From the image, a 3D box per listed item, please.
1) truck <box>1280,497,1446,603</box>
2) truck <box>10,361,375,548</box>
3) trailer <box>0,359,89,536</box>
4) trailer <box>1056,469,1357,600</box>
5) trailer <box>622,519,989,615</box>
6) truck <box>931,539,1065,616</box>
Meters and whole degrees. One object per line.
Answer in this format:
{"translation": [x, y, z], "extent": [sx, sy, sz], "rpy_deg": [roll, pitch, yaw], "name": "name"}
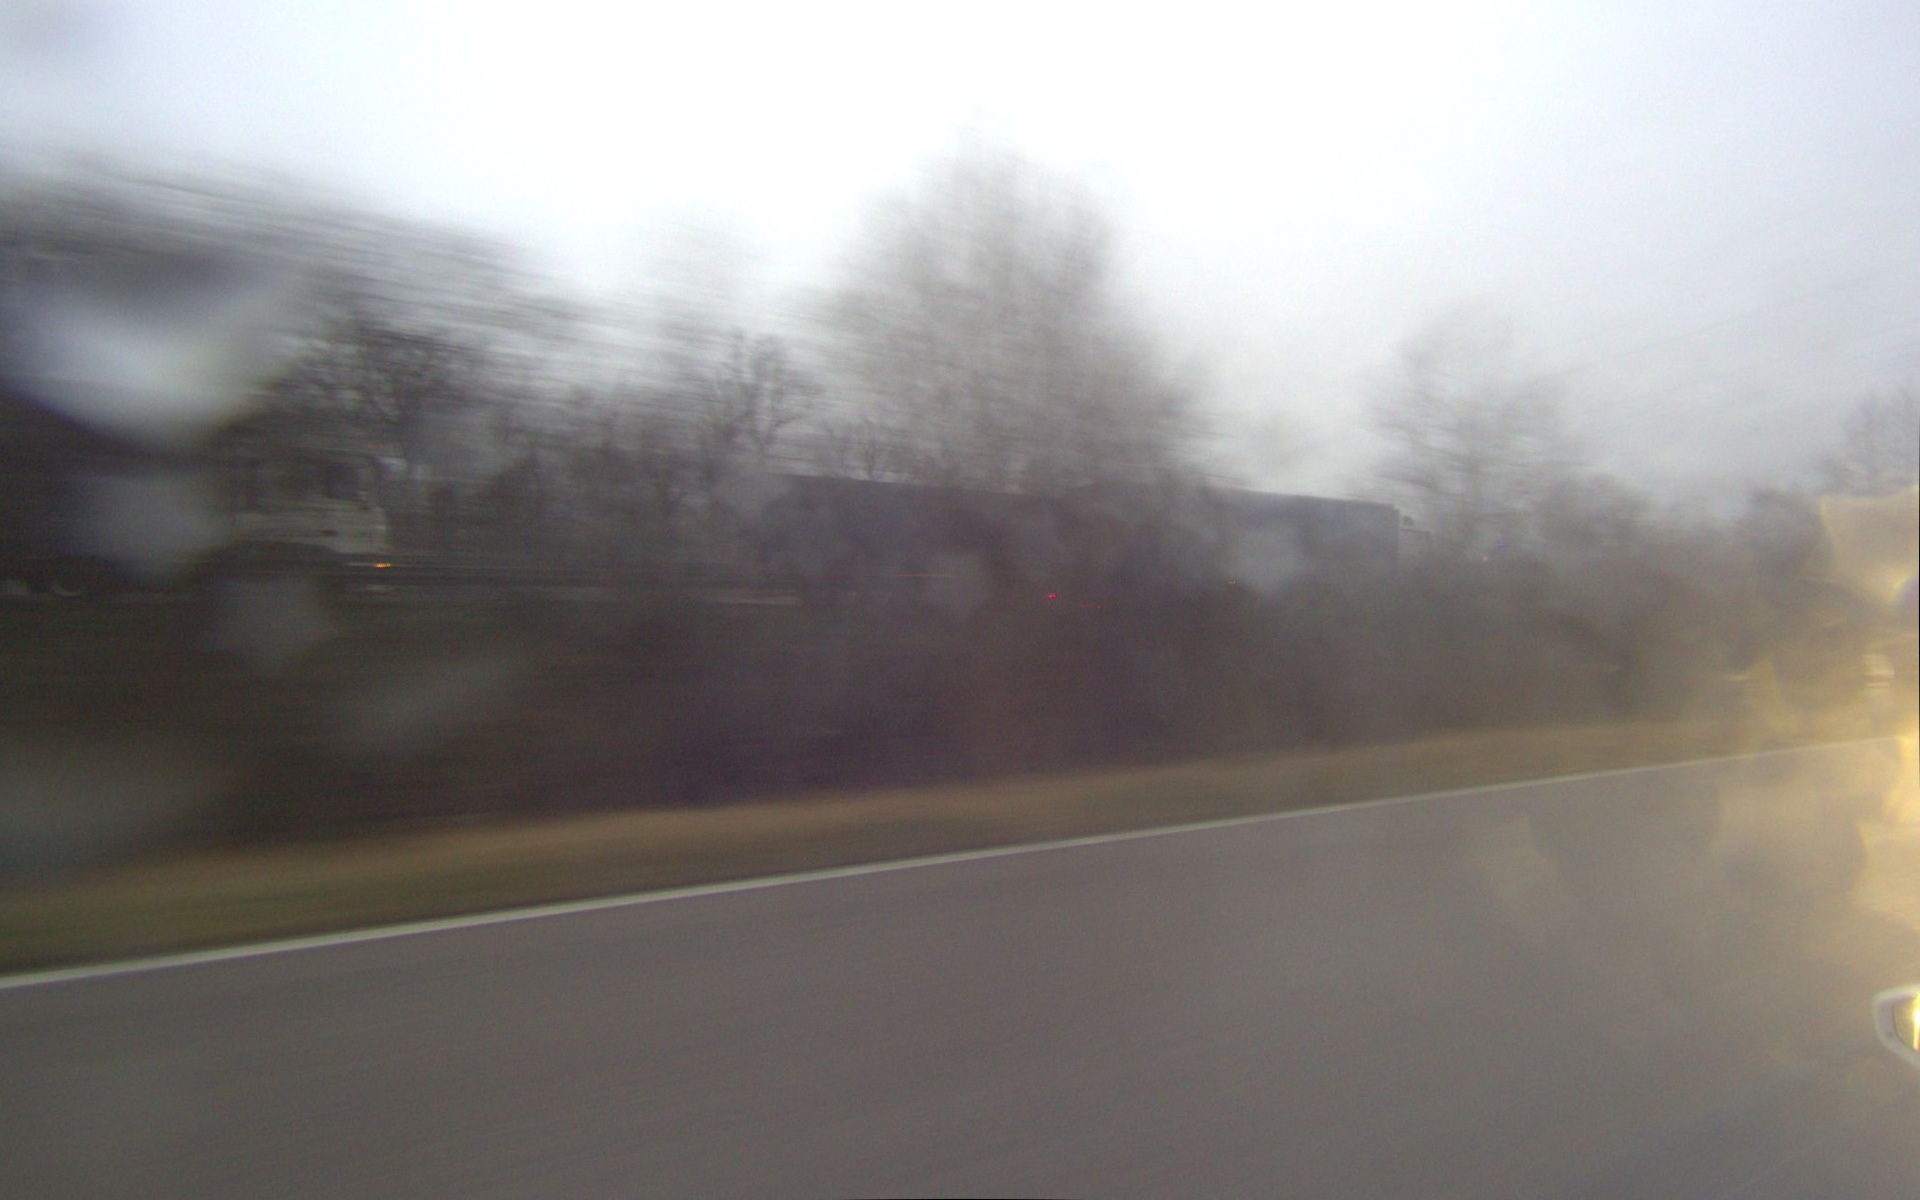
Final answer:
{"translation": [15.653, -1.785, 38.957], "extent": [5.997, 3.680, 2.977], "rpy_deg": [2, -1, -31], "name": "truck"}
{"translation": [-15.048, -2.716, 20.294], "extent": [5.518, 2.925, 2.438], "rpy_deg": [2, -1, -31], "name": "truck"}
{"translation": [-21.650, -2.891, 16.341], "extent": [10.957, 2.929, 2.424], "rpy_deg": [2, -1, -31], "name": "trailer"}
{"translation": [8.787, -1.995, 34.815], "extent": [11.256, 3.682, 2.983], "rpy_deg": [2, 0, -31], "name": "trailer"}
{"translation": [-4.568, -0.865, 31.769], "extent": [11.366, 2.456, 2.497], "rpy_deg": [2, -2, -30], "name": "trailer"}
{"translation": [1.326, -0.726, 35.235], "extent": [3.953, 2.468, 2.518], "rpy_deg": [2, -2, -30], "name": "truck"}
